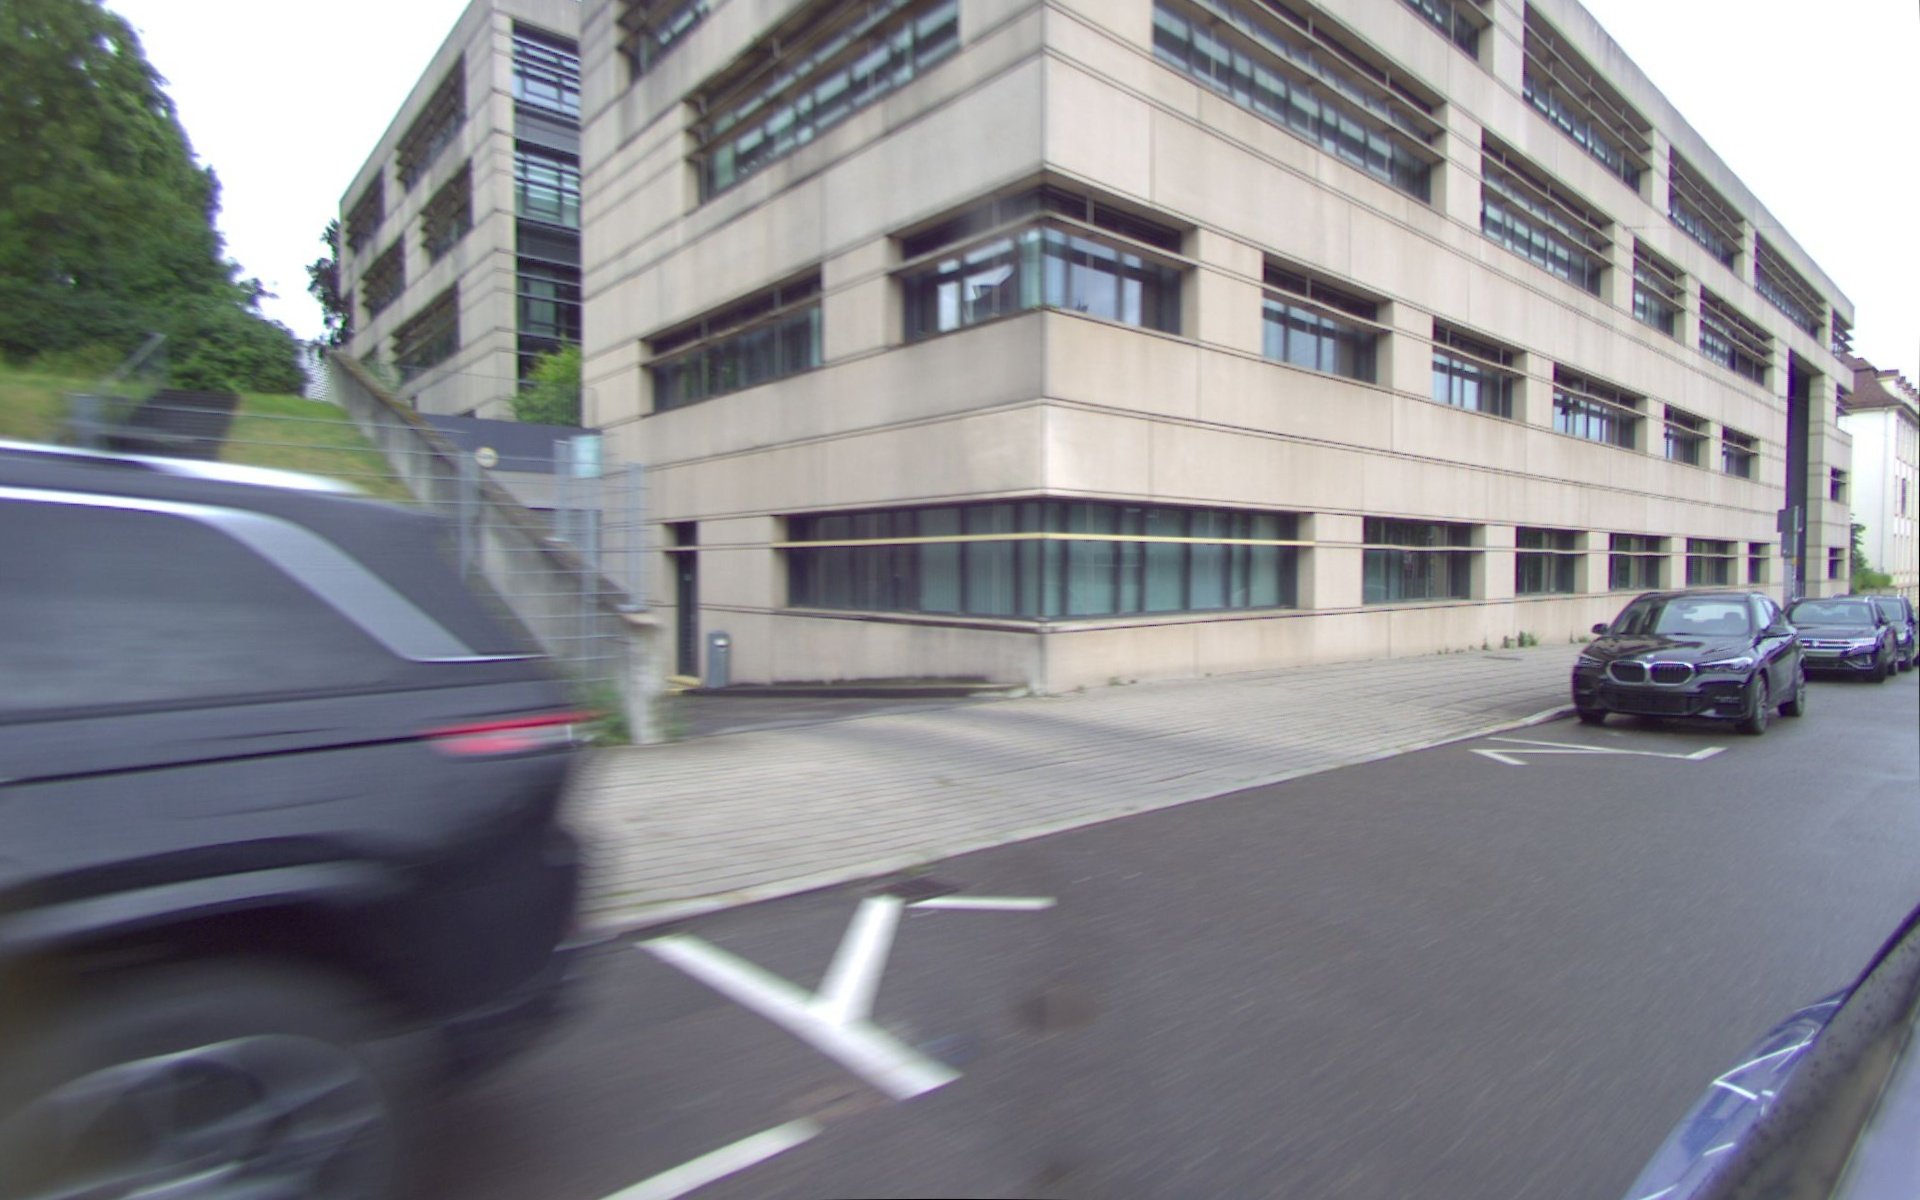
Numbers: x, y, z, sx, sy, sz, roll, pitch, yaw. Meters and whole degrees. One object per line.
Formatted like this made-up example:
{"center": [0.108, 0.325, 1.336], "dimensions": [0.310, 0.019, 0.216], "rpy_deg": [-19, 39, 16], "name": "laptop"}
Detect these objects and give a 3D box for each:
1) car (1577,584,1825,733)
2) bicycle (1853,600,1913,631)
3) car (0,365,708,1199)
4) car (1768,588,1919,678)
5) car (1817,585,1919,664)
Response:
{"center": [9.373, 0.582, 12.666], "dimensions": [4.246, 1.552, 1.745], "rpy_deg": [-1, 1, -43], "name": "car"}
{"center": [36.342, 0.584, 39.853], "dimensions": [1.730, 1.133, 0.649], "rpy_deg": [2, 2, 44], "name": "bicycle"}
{"center": [-3.012, 0.506, 1.651], "dimensions": [4.714, 1.772, 1.938], "rpy_deg": [-1, 1, -42], "name": "car"}
{"center": [17.232, 0.570, 19.688], "dimensions": [3.988, 1.531, 1.727], "rpy_deg": [-2, 0, -42], "name": "car"}
{"center": [21.020, 0.471, 23.055], "dimensions": [4.320, 1.624, 1.773], "rpy_deg": [-1, 1, -43], "name": "car"}
